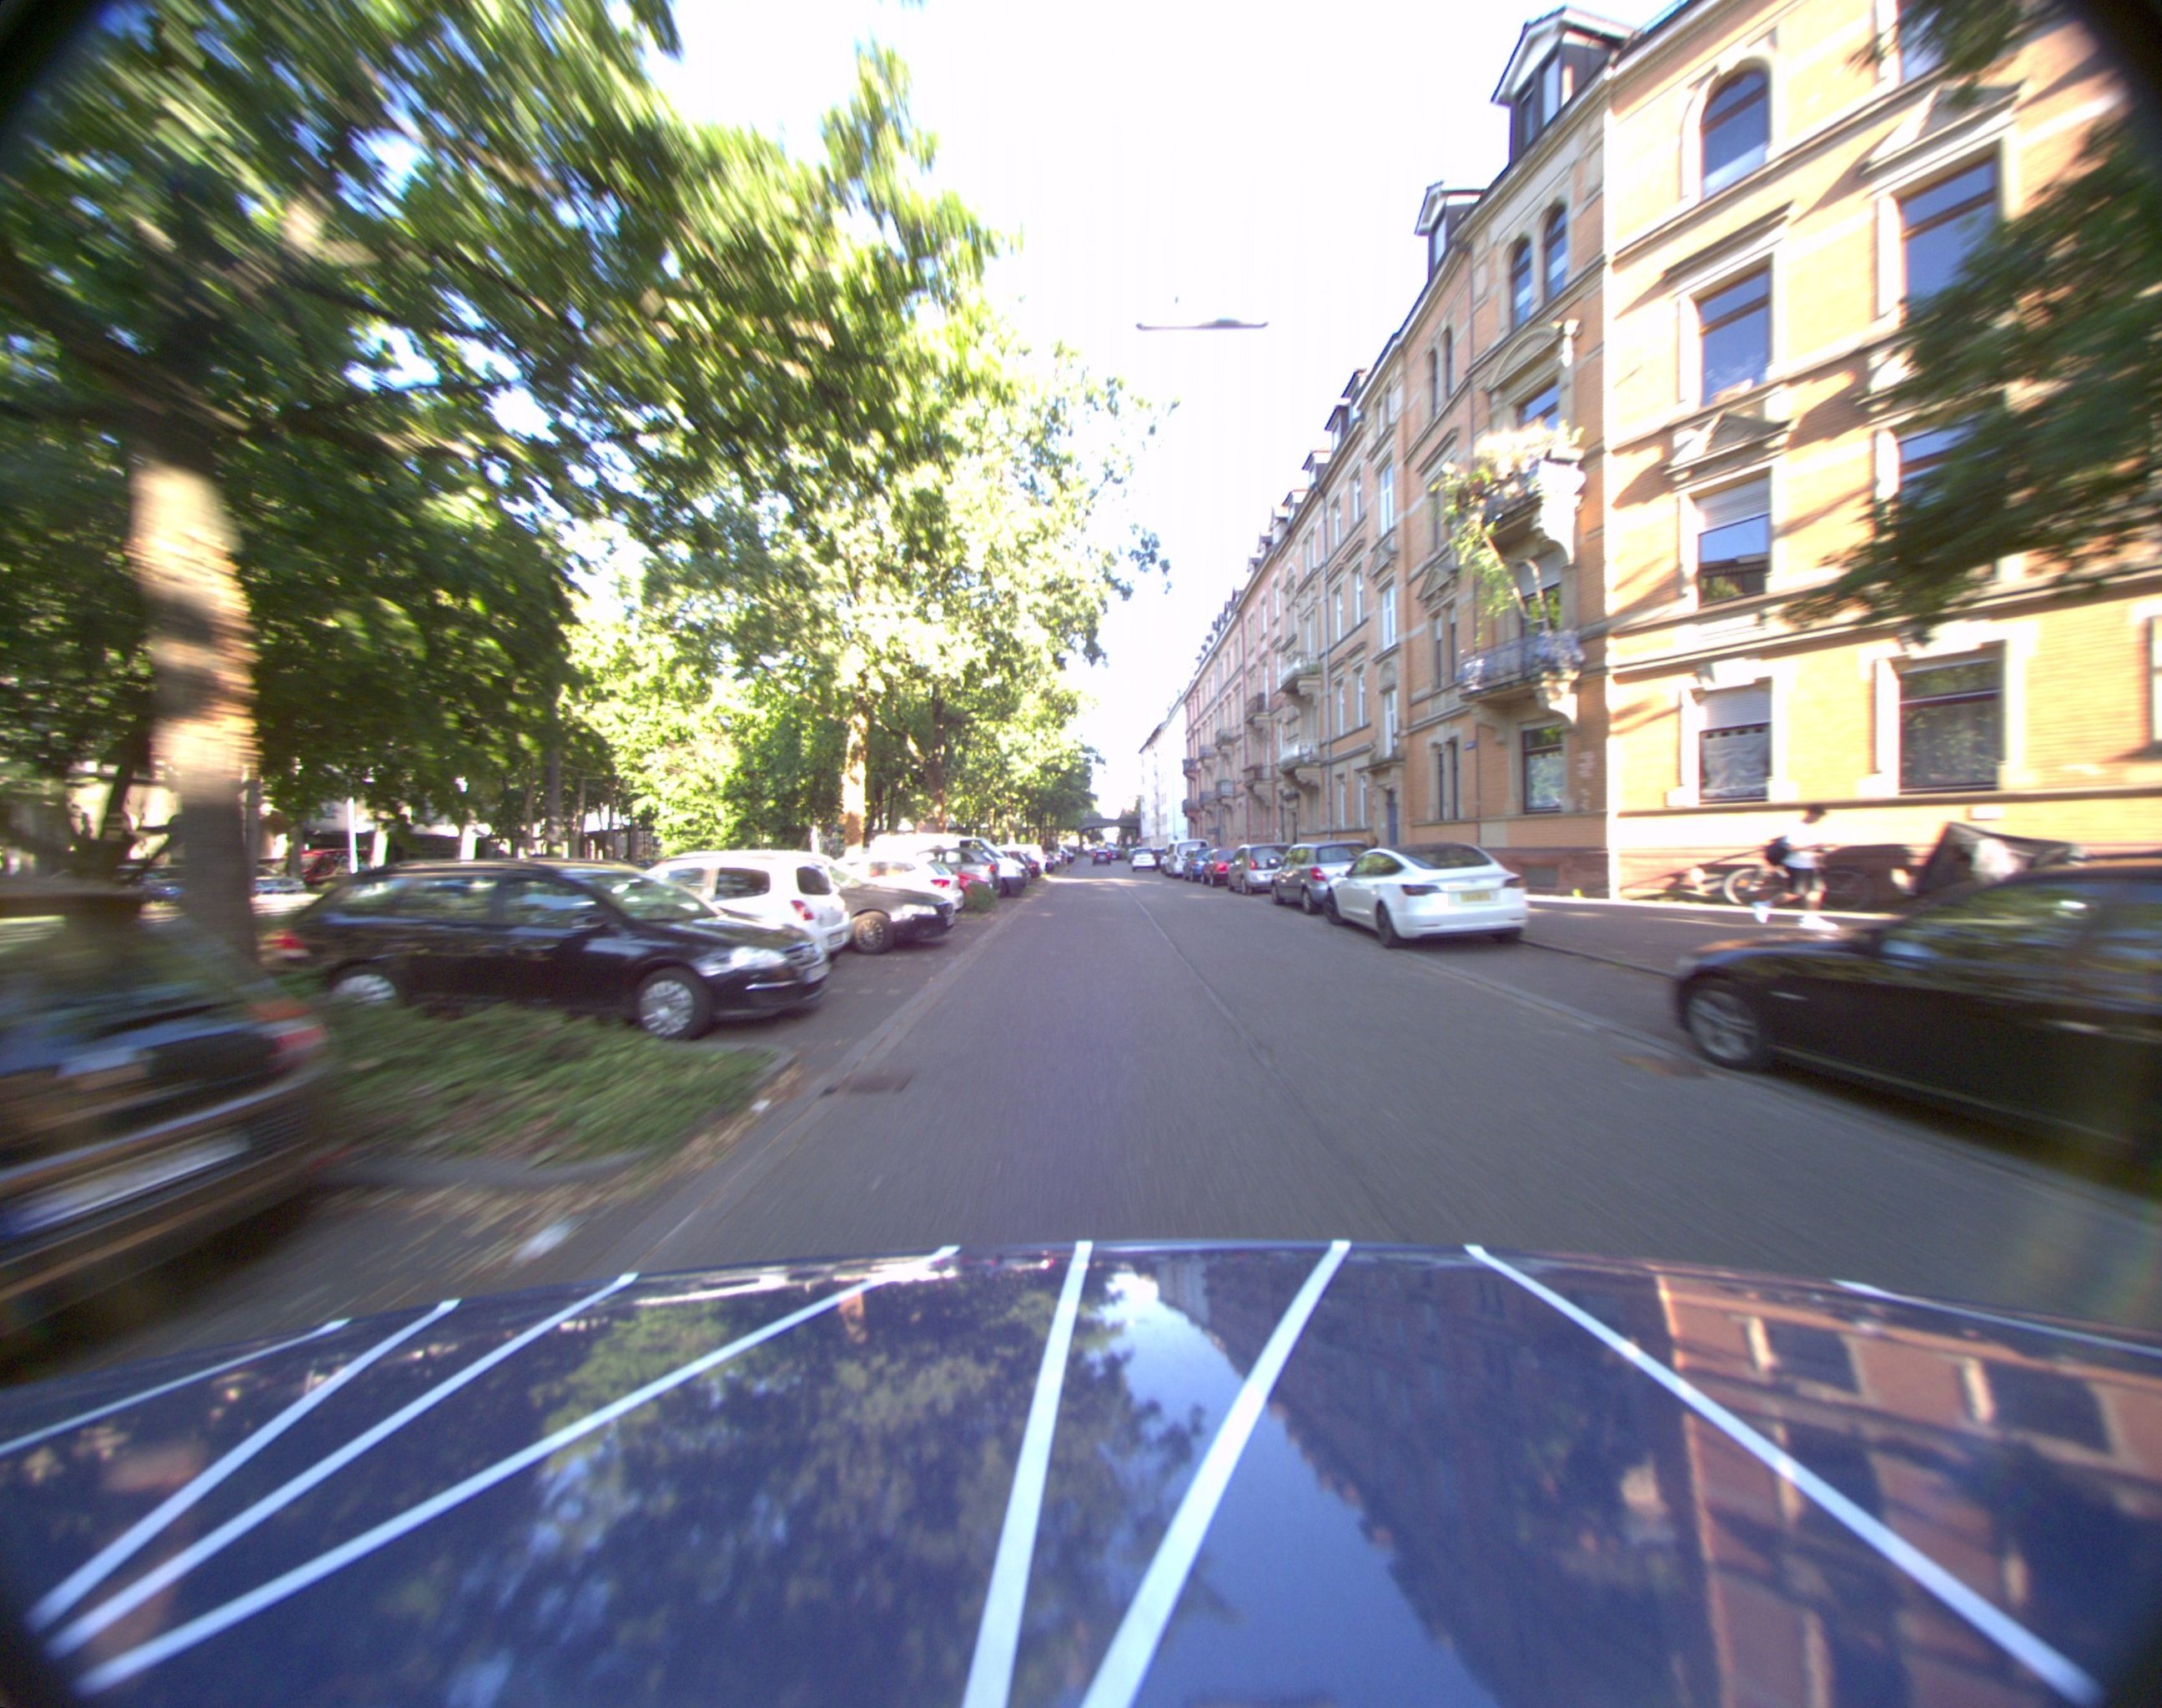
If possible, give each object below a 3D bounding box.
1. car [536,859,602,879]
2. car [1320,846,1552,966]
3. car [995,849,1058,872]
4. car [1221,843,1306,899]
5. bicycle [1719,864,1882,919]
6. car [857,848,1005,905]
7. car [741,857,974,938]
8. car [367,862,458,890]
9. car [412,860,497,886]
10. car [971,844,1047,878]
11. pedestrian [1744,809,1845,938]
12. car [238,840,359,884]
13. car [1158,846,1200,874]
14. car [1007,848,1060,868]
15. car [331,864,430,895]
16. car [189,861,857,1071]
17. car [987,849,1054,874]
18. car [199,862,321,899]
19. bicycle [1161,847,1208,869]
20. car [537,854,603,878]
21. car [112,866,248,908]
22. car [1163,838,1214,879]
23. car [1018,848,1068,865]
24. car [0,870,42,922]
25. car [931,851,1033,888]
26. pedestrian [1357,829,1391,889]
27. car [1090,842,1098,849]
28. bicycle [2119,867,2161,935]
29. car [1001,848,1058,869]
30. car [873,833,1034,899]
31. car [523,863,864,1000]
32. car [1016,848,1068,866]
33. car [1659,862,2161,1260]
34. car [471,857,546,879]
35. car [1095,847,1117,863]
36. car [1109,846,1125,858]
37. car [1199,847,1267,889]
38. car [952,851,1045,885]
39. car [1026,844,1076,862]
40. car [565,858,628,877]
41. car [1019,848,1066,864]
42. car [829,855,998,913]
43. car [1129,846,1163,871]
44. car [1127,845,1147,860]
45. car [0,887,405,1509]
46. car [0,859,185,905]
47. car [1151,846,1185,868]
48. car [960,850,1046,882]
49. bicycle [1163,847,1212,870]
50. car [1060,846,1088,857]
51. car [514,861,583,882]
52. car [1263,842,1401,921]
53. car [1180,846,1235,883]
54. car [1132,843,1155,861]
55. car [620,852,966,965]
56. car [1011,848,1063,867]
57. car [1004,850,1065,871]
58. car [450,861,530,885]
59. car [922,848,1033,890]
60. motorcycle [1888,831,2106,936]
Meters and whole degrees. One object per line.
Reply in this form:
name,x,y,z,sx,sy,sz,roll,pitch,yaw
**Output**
car,-35.072,1.025,52.051,3.990,1.271,1.751,0,1,22
car,5.246,0.650,11.924,1.780,1.467,4.271,-3,1,3
car,-3.537,0.405,49.820,3.996,1.480,1.684,0,1,1
car,5.431,0.459,23.032,1.688,1.467,3.709,-3,1,2
bicycle,11.868,0.588,12.607,0.526,0.843,1.894,-1,0,-34
car,-4.297,0.627,22.222,3.997,1.571,1.765,0,1,-1
car,-4.232,0.802,14.802,3.996,1.452,1.684,0,1,1
car,-33.186,1.079,37.742,3.990,1.271,1.751,0,1,22
car,-33.276,0.969,40.331,3.990,1.271,1.751,0,1,22
car,-3.906,0.352,41.698,3.996,1.822,1.684,0,1,1
pedestrian,10.055,0.261,10.713,0.676,1.708,0.909,-6,2,-39
car,-40.255,0.367,39.258,2.000,2.160,4.607,0,1,-10
car,5.697,0.315,44.718,1.880,1.433,4.392,-3,1,1
car,-3.698,0.295,59.662,3.996,1.480,1.684,0,1,1
car,-32.002,1.139,34.710,3.990,1.271,1.751,0,1,22
car,-4.760,0.920,7.022,4.711,1.563,2.000,-1,2,3
car,-3.718,0.447,47.151,3.996,1.480,1.684,0,1,1
car,-30.647,0.940,28.356,3.990,1.271,1.751,0,1,22
bicycle,6.888,0.247,50.637,3.043,1.476,0.817,0,1,2
car,-39.046,0.934,58.112,3.994,1.756,1.749,0,1,8
car,-30.440,1.081,25.678,3.990,1.271,1.751,0,1,22
car,5.453,0.179,38.974,1.912,1.872,4.725,-3,1,1
car,-3.307,0.188,66.727,4.263,1.480,1.684,0,1,1
car,-29.198,1.078,19.625,4.271,1.271,1.812,0,1,23
car,-4.069,0.615,31.682,3.996,1.480,1.684,0,1,1
pedestrian,8.617,0.137,22.363,0.675,1.708,0.722,-3,1,2
car,3.198,-2.044,185.703,1.880,1.433,4.392,-3,1,1
bicycle,14.186,0.586,9.194,0.526,0.843,1.894,-1,0,-34
car,-3.738,0.351,55.238,3.996,1.480,1.684,0,1,1
car,-4.067,0.372,24.850,4.856,2.026,2.155,0,1,1
car,-4.730,0.913,9.616,3.406,1.505,1.719,-1,1,3
car,-3.312,0.216,64.422,4.263,1.480,1.684,0,1,1
car,5.091,0.832,3.325,1.781,1.425,4.269,-3,1,-1
car,-34.722,0.846,46.085,3.990,1.271,1.751,0,1,22
car,2.388,0.051,73.570,1.881,1.422,4.391,-3,1,-1
car,4.659,-0.282,99.143,1.880,1.433,4.392,-3,1,1
car,5.570,0.458,28.284,1.767,1.375,4.290,-3,1,2
car,-3.676,0.599,34.296,3.996,1.480,1.684,0,1,1
car,-3.086,-0.082,79.046,5.095,1.831,1.832,0,1,1
car,-34.548,0.964,54.204,3.990,1.271,1.751,0,1,22
car,-3.501,0.163,69.396,4.130,1.480,1.684,0,1,1
car,-4.275,0.762,19.837,3.996,1.415,1.684,0,1,1
car,4.303,0.253,51.023,1.880,1.527,4.392,-3,1,1
car,6.104,-0.174,83.418,1.880,1.433,4.392,-3,1,1
car,-5.123,0.979,2.245,4.549,1.563,1.950,-1,2,3
car,-38.388,1.023,29.589,2.000,1.558,4.607,0,1,-10
car,6.124,0.179,53.985,1.880,1.433,4.392,-3,1,1
car,-3.765,0.571,37.075,3.996,1.480,1.684,0,1,1
bicycle,6.847,0.270,48.888,3.043,1.476,0.817,0,1,2
car,-1.158,-0.399,126.010,4.389,1.676,1.882,-3,1,1
car,-34.387,1.081,49.071,3.990,1.271,1.751,0,1,22
car,5.409,0.532,16.881,1.688,1.467,3.881,-3,1,-1
car,5.478,0.402,33.344,1.767,1.430,3.888,-3,1,1
car,5.982,-0.225,73.442,1.880,1.560,4.392,-3,1,1
car,-4.403,0.810,12.164,4.711,1.563,2.000,-1,2,3
car,-3.591,0.239,62.139,4.130,1.513,1.684,0,1,1
car,-3.147,0.434,51.734,3.996,1.331,1.684,0,1,1
car,-33.247,1.033,42.761,3.990,1.271,1.751,0,1,22
car,-3.925,0.565,29.184,3.996,1.545,1.684,0,1,1
motorcycle,12.894,0.384,10.758,0.811,1.345,1.894,-1,0,-34
